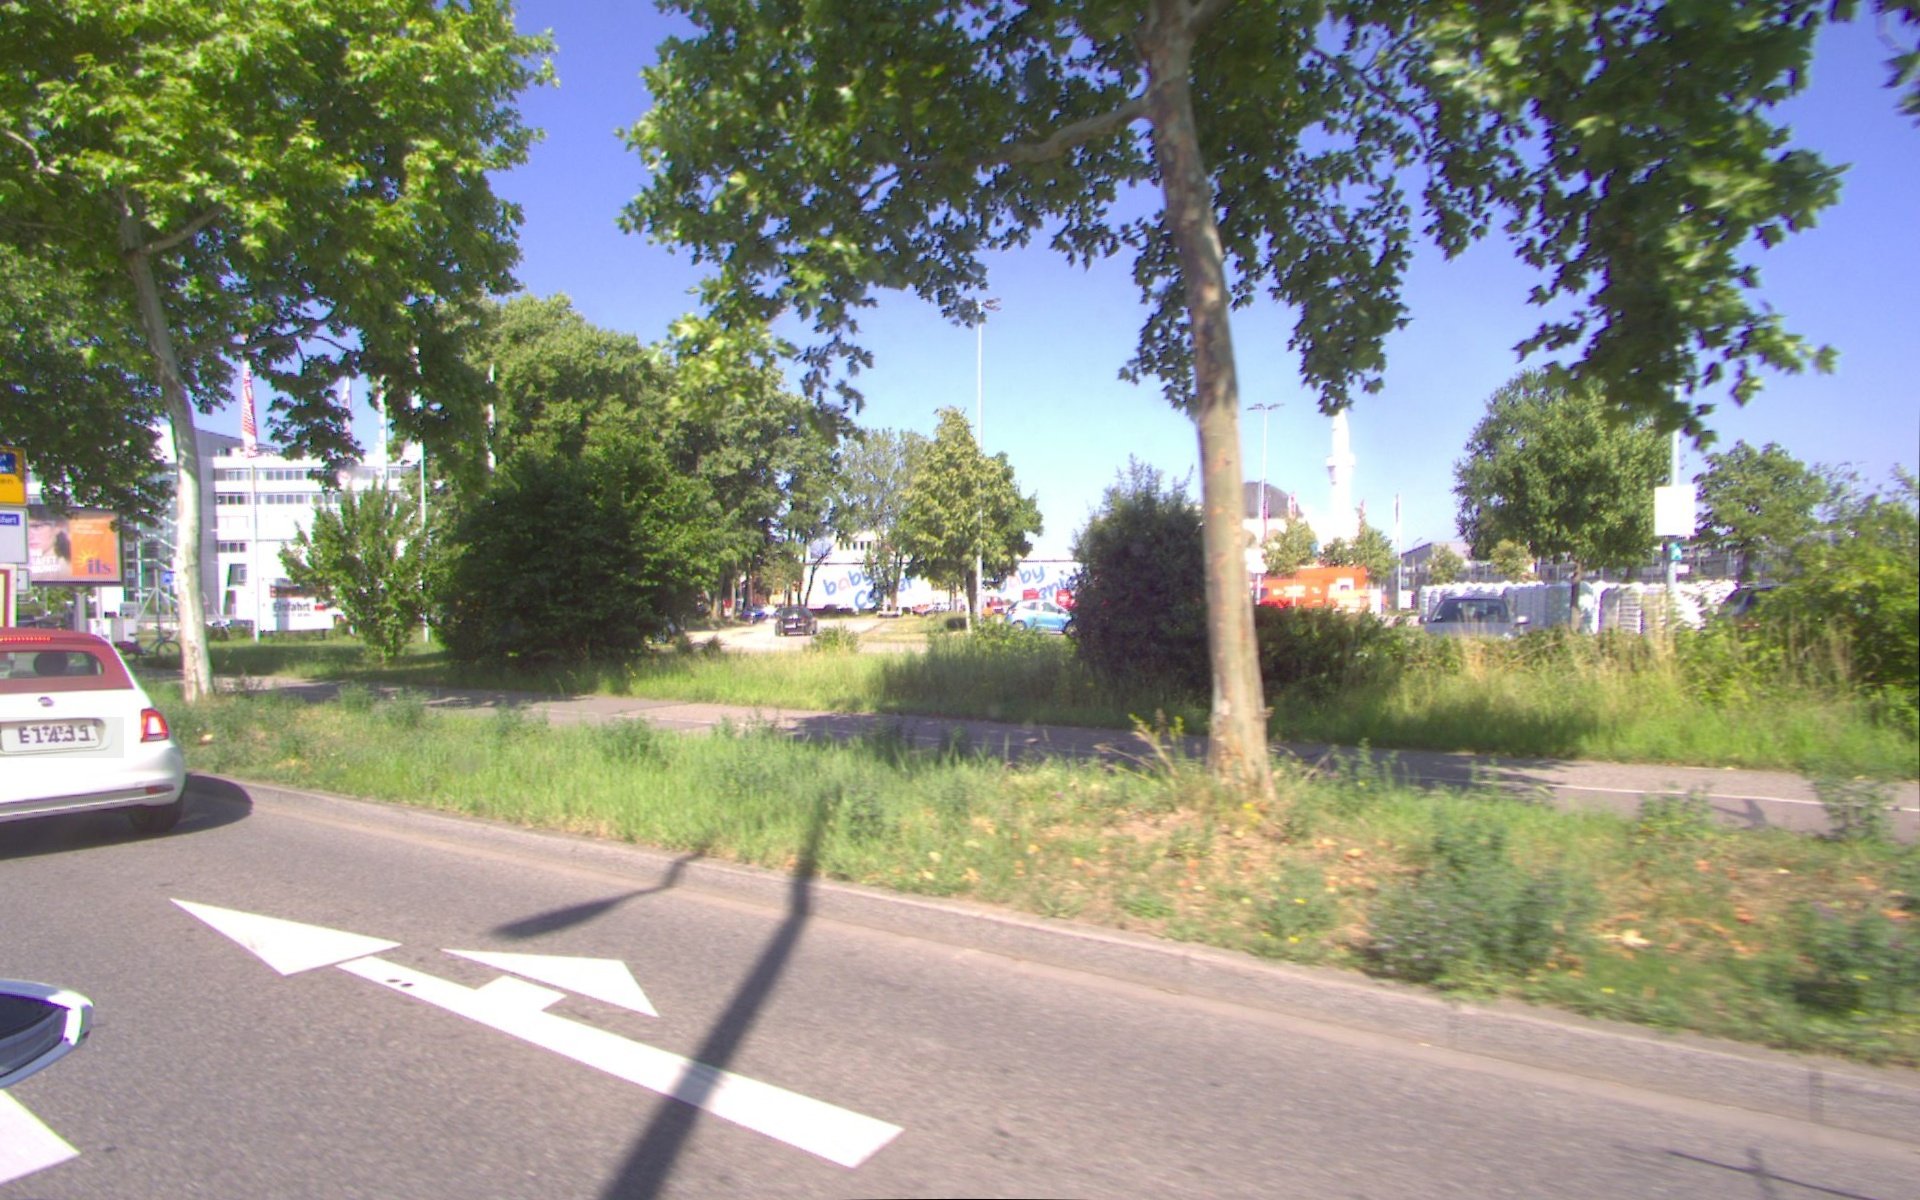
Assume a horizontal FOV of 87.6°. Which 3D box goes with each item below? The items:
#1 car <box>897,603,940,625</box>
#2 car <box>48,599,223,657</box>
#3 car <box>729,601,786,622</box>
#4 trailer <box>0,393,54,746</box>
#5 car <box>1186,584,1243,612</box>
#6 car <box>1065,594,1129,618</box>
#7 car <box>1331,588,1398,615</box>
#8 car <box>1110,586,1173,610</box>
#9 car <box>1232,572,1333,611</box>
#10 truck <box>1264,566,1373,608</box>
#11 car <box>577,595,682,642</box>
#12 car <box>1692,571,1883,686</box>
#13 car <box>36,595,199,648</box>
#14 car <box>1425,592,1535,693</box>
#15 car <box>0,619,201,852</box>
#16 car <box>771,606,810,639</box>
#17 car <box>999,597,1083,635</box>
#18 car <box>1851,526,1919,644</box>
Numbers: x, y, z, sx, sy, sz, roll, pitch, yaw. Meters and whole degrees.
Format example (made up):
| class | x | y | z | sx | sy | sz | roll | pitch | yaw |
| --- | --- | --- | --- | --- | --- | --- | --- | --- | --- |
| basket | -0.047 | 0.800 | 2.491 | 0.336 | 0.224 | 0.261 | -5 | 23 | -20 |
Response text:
| class | x | y | z | sx | sy | sz | roll | pitch | yaw |
| --- | --- | --- | --- | --- | --- | --- | --- | --- | --- |
| car | -3.969 | 1.353 | 95.298 | 3.923 | 2.039 | 2.000 | 0 | -1 | -6 |
| car | -25.707 | 0.885 | 31.342 | 1.701 | 1.683 | 3.973 | -1 | -2 | 37 |
| car | -15.063 | 0.868 | 74.563 | 3.922 | 1.505 | 1.722 | 0 | -1 | 0 |
| trailer | -15.920 | -0.240 | 13.101 | 12.067 | 3.788 | 3.010 | -1 | -1 | 33 |
| car | 19.772 | -0.138 | 77.796 | 3.922 | 2.039 | 2.001 | 0 | -1 | 2 |
| car | 11.805 | 0.534 | 86.522 | 5.188 | 2.039 | 2.000 | 0 | -1 | -5 |
| car | 30.900 | 0.118 | 76.633 | 4.304 | 2.039 | 2.000 | 0 | -1 | -3 |
| car | 14.588 | -0.150 | 80.695 | 4.824 | 1.906 | 1.770 | 0 | -1 | 1 |
| car | 20.820 | -0.527 | 64.860 | 5.822 | 2.371 | 2.115 | 0 | -1 | 1 |
| truck | 28.872 | -1.060 | 80.775 | 8.068 | 3.290 | 2.000 | 0 | -1 | -3 |
| car | -12.522 | 0.721 | 38.123 | 3.681 | 1.738 | 1.766 | 0 | -1 | -14 |
| car | 13.796 | 0.476 | 16.925 | 1.692 | 1.718 | 3.547 | -1 | -2 | 26 |
| car | -28.418 | 0.747 | 33.878 | 1.701 | 1.683 | 3.973 | -1 | -2 | 37 |
| car | 9.906 | 0.781 | 19.036 | 1.693 | 1.718 | 3.545 | -1 | -2 | 29 |
| car | -7.316 | 0.886 | 7.428 | 3.471 | 1.455 | 1.658 | -1 | -2 | 34 |
| car | -8.489 | 1.133 | 49.959 | 1.743 | 1.534 | 3.722 | 0 | -2 | -12 |
| car | 3.438 | 0.683 | 42.966 | 3.387 | 1.591 | 1.745 | 0 | -1 | -2 |
| car | 15.818 | -0.221 | 15.681 | 1.725 | 1.794 | 3.987 | -1 | -2 | 26 |
